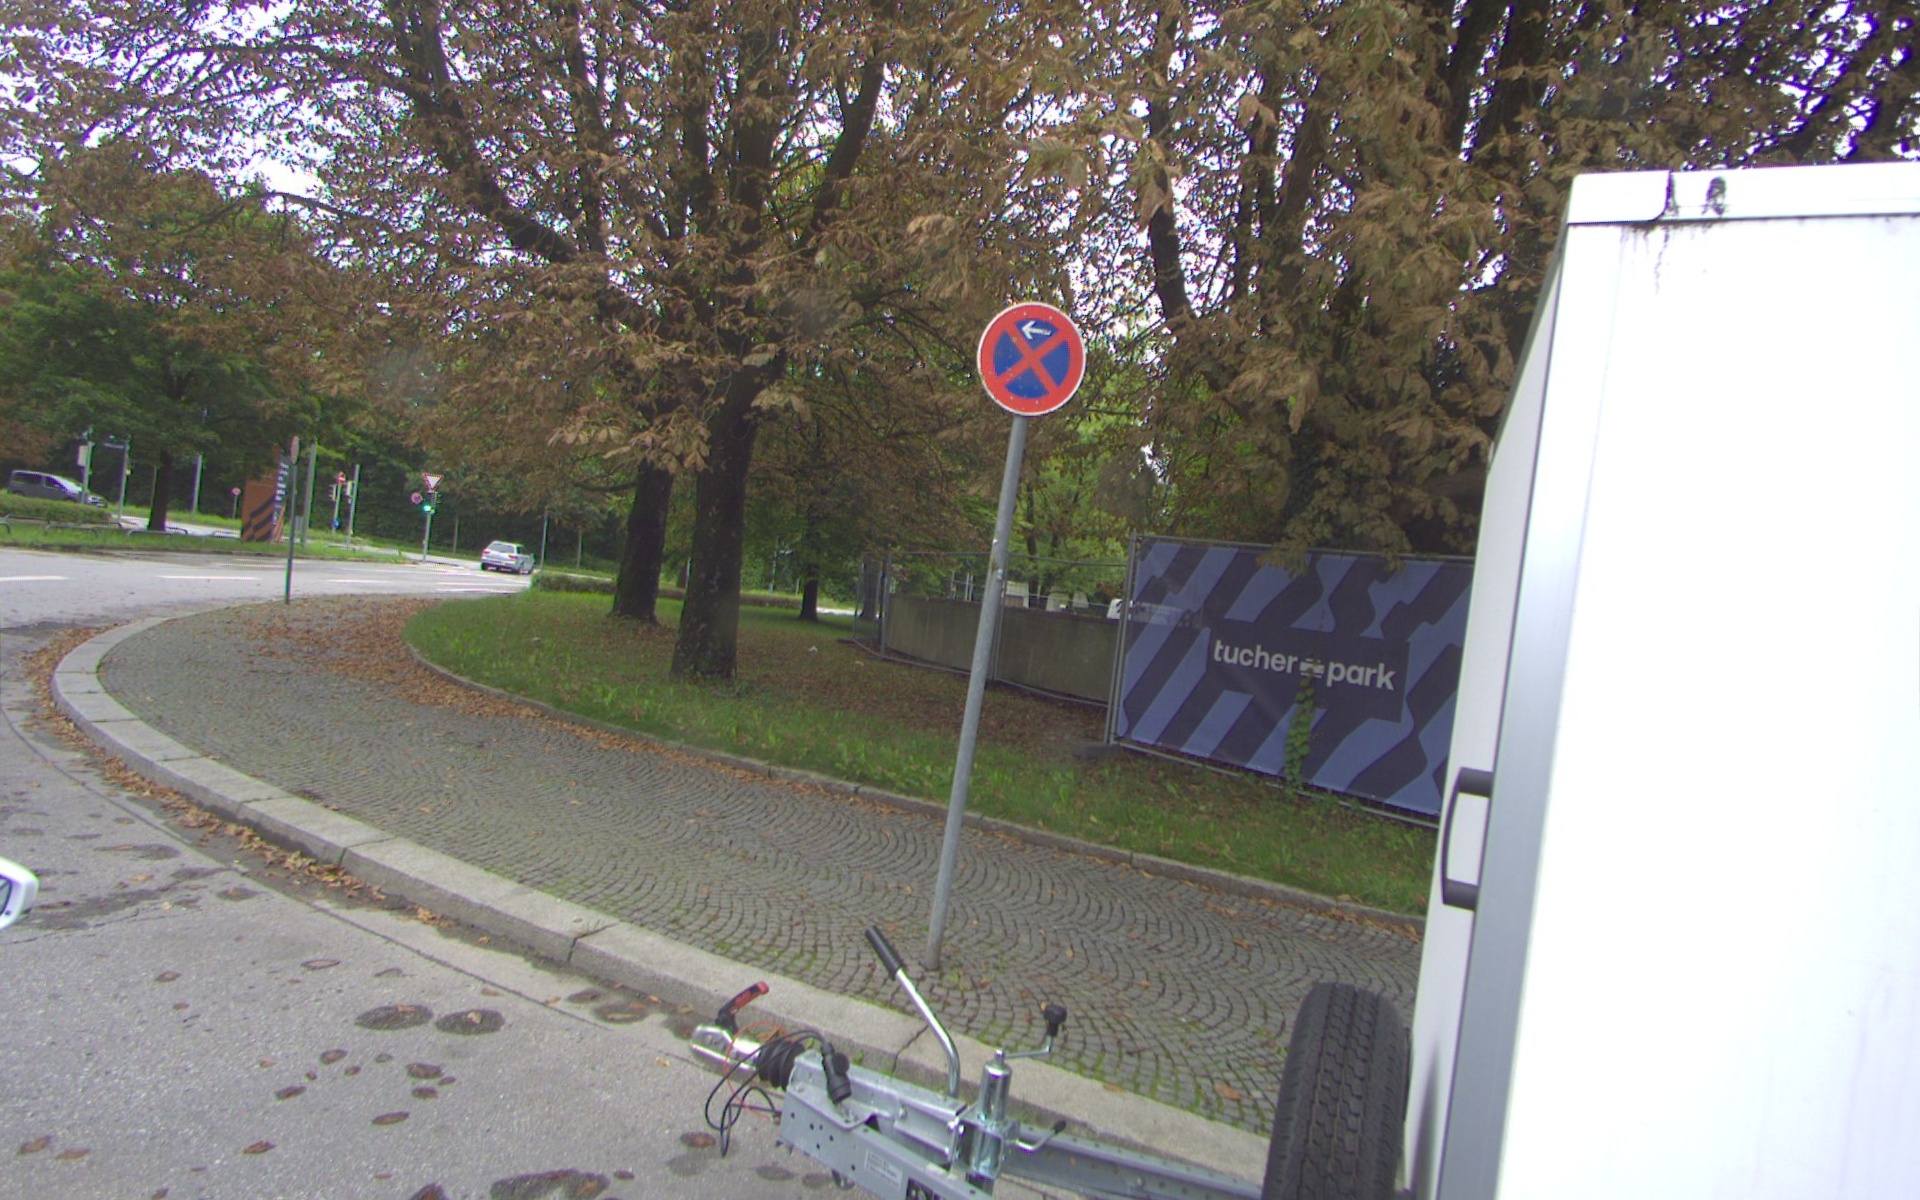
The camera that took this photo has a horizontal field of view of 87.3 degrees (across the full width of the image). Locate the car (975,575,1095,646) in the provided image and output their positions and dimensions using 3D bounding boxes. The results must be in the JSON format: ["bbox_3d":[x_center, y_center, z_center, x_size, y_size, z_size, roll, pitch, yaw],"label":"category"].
[{"bbox_3d":[3.710,0.500,50.487,5.495,2.768,2.075,8,1,-2],"label":"car"}]

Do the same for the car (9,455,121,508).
[{"bbox_3d":[-48.411,-6.385,54.473,3.931,2.038,1.997,8,0,-8],"label":"car"}]

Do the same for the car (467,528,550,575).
[{"bbox_3d":[-21.541,-2.290,48.190,1.963,1.771,4.124,7,0,0],"label":"car"}]

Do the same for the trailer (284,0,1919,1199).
[{"bbox_3d":[1.303,0.535,1.632,4.749,2.038,1.813,7,0,28],"label":"trailer"}]

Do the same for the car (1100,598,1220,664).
[{"bbox_3d":[10.085,1.547,51.019,5.359,2.612,2.075,8,0,-2],"label":"car"}]
